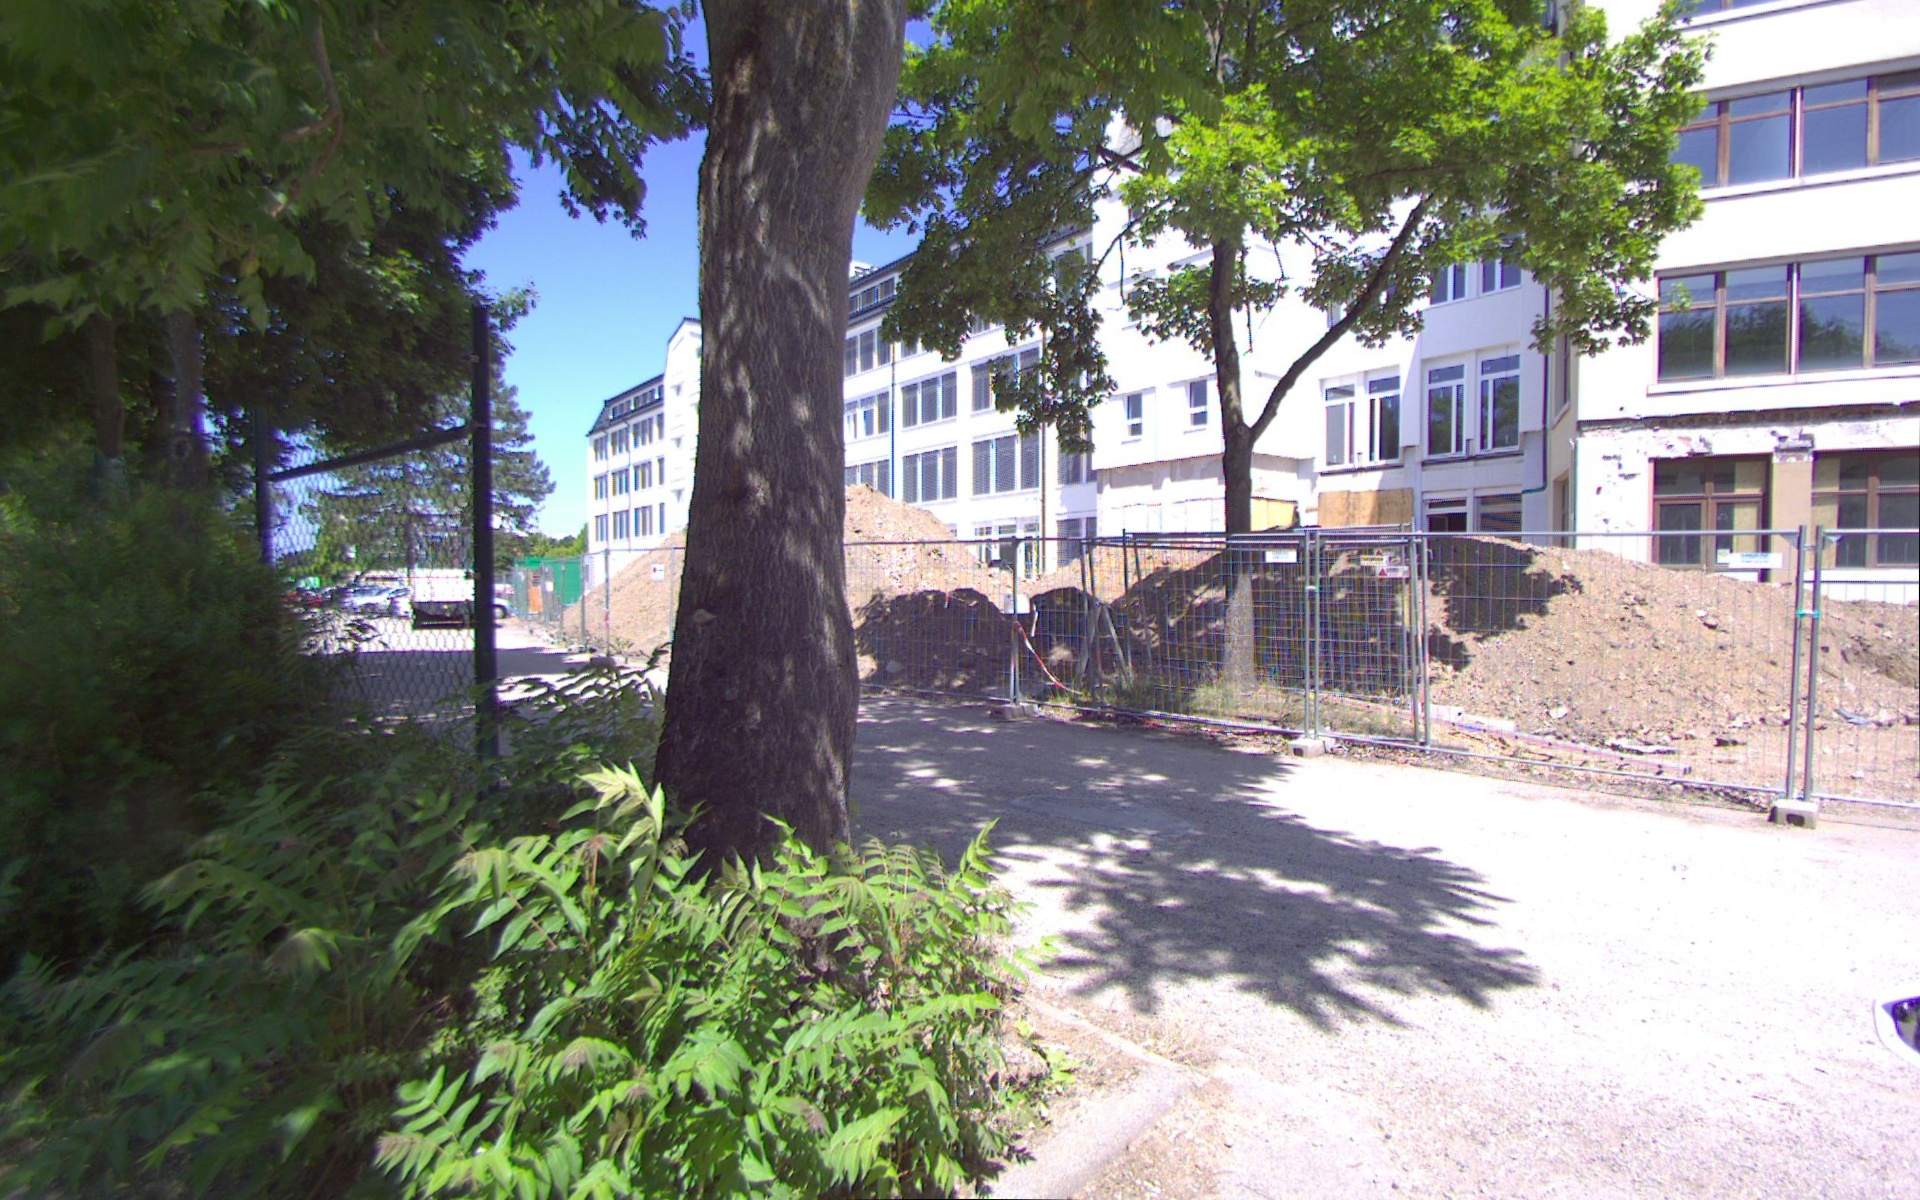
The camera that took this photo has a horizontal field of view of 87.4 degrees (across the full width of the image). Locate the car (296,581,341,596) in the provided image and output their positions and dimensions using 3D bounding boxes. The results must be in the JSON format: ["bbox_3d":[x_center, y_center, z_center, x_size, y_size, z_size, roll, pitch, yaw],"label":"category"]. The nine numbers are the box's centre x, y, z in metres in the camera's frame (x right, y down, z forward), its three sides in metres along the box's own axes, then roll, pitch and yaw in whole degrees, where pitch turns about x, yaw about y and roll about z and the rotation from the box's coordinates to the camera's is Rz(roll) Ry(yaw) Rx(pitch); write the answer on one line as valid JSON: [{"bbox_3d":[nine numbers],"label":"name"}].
[{"bbox_3d":[-64.686,-1.187,101.332,3.754,1.428,1.723,0,0,-36],"label":"car"}]

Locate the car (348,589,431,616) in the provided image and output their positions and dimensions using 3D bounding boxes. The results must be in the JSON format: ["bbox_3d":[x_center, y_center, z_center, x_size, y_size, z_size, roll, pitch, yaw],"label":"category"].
[{"bbox_3d":[-30.990,0.148,54.605,3.754,1.428,1.723,0,0,-36],"label":"car"}]

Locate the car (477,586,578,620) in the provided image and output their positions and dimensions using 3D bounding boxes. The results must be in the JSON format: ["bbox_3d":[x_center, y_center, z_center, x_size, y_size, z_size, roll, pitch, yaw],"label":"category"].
[{"bbox_3d":[-18.763,0.133,43.625,3.754,1.428,1.723,0,0,-36],"label":"car"}]

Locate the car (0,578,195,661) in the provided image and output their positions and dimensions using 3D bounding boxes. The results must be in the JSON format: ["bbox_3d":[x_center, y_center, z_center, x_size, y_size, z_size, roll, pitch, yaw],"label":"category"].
[{"bbox_3d":[-18.616,0.385,21.350,3.756,1.657,1.827,0,0,-38],"label":"car"}]

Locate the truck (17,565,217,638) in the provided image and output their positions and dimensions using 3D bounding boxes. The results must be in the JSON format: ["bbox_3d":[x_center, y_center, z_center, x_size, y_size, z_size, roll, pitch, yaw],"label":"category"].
[{"bbox_3d":[-24.970,0.051,29.988,4.415,2.021,1.980,0,0,-36],"label":"truck"}]

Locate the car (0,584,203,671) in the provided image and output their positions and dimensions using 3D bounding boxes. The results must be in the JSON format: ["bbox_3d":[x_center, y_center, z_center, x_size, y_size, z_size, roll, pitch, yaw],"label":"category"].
[{"bbox_3d":[-16.721,0.480,18.883,3.963,1.523,1.672,0,0,-37],"label":"car"}]

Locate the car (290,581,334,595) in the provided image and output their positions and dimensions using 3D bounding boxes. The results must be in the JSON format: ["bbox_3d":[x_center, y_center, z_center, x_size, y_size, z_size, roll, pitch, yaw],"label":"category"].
[{"bbox_3d":[-67.189,-1.252,104.161,3.754,1.428,1.723,0,0,-36],"label":"car"}]

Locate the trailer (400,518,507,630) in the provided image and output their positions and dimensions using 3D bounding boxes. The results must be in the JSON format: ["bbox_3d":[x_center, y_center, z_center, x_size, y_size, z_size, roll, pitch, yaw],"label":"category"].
[{"bbox_3d":[-18.123,-0.835,35.635,3.005,3.467,8.703,0,1,-29],"label":"trailer"}]
